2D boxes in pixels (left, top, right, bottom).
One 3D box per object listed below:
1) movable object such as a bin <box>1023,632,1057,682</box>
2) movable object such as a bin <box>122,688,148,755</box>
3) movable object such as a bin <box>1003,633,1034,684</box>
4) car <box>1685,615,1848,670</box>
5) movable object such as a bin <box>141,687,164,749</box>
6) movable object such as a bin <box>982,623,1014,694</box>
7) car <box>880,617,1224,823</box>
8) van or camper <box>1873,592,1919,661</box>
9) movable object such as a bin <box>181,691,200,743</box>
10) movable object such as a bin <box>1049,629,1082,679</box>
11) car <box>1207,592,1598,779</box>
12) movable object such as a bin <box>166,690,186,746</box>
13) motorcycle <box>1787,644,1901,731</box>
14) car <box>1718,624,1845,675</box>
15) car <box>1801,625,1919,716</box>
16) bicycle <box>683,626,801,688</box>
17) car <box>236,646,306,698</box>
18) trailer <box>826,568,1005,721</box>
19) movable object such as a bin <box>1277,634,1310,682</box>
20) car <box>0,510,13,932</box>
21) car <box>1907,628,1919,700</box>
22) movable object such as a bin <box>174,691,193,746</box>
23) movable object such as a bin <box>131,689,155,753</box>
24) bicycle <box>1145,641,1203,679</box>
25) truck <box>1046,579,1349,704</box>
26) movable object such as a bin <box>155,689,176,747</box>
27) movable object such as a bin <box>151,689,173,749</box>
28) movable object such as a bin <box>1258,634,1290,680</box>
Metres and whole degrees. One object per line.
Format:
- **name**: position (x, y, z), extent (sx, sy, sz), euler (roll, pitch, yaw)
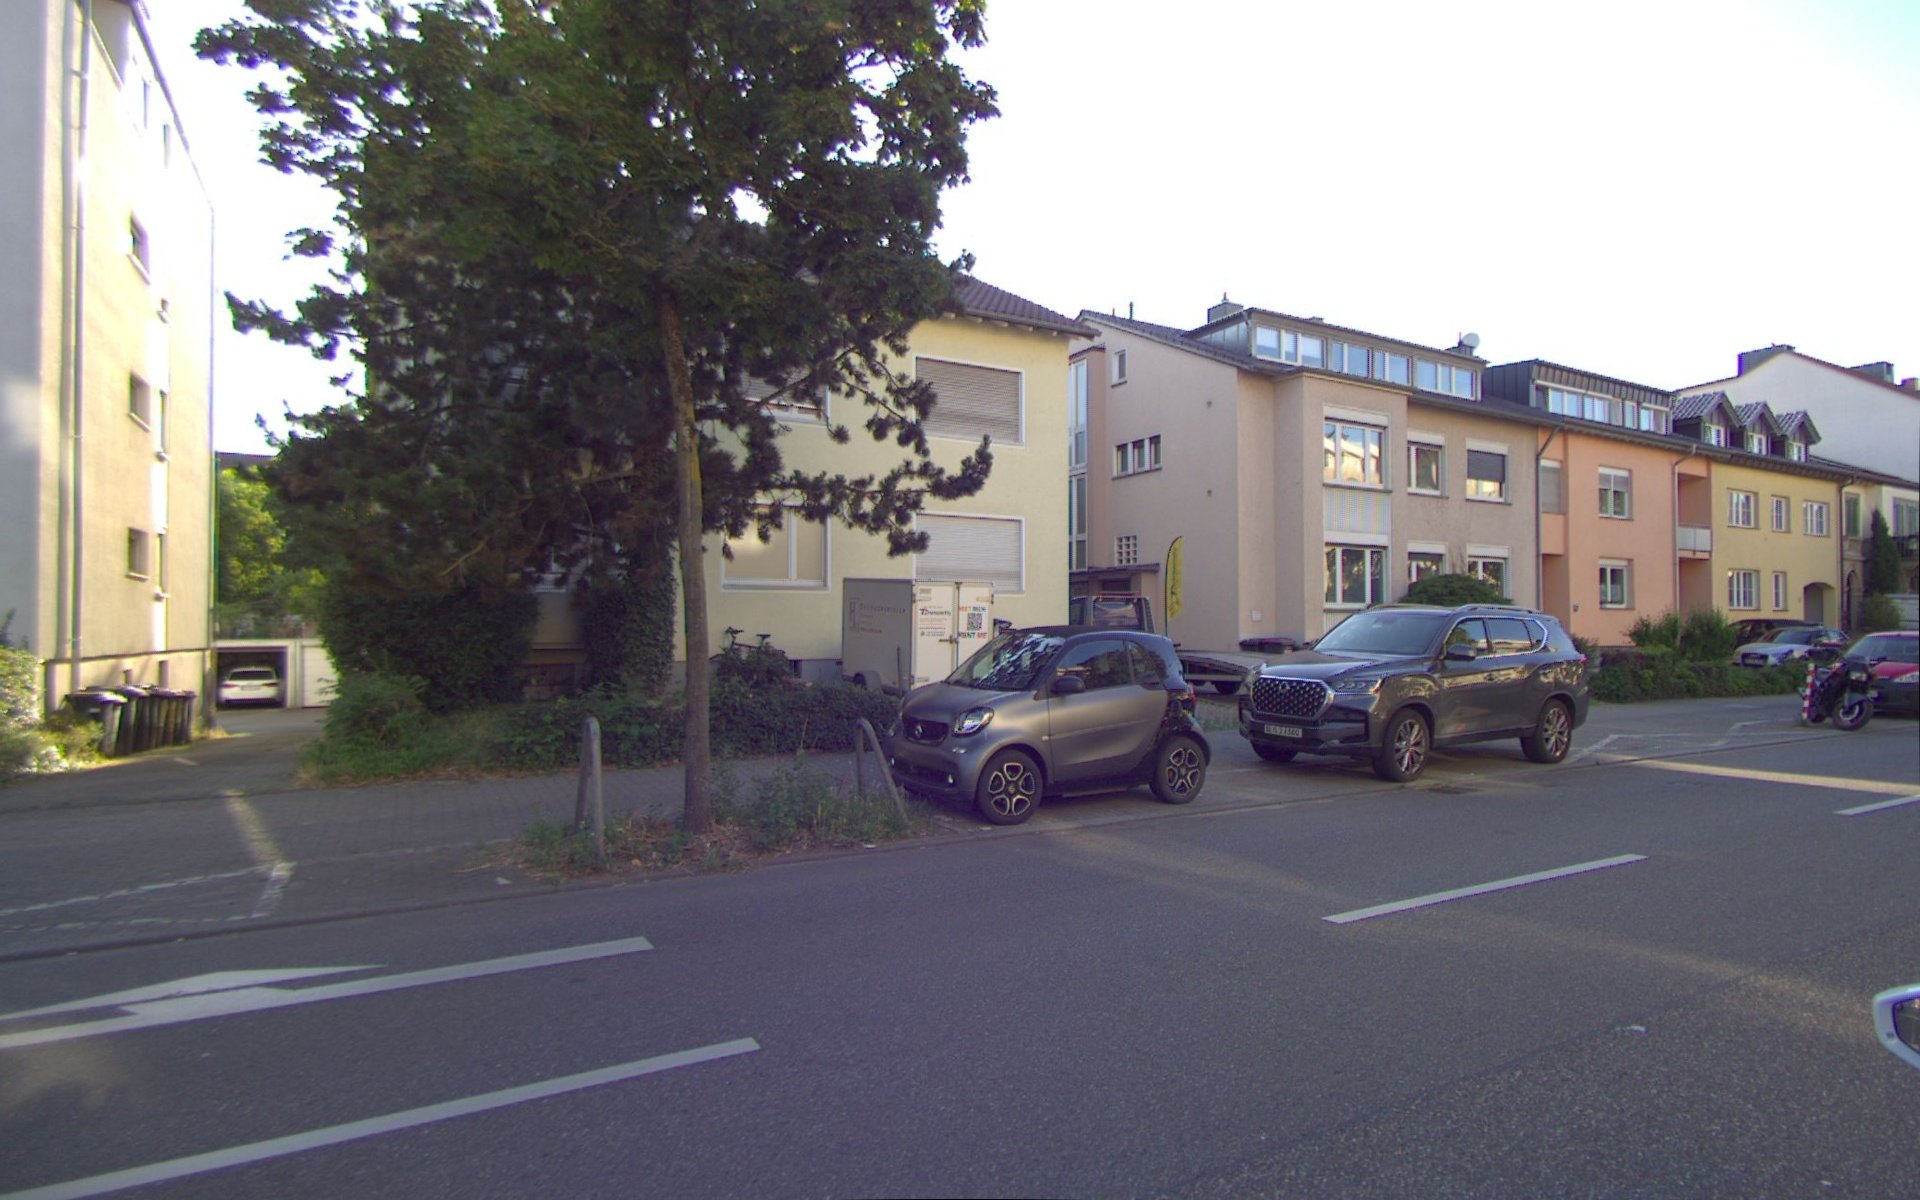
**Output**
- **movable object such as a bin**: position (1.682, 1.195, 21.192), extent (0.531, 1.044, 0.478), euler (1, -1, -29)
- **movable object such as a bin**: position (-12.926, 1.895, 15.750), extent (0.205, 1.015, 0.522), euler (1, -2, -29)
- **movable object such as a bin**: position (1.219, 1.203, 20.915), extent (0.480, 1.044, 0.478), euler (1, -1, -29)
- **car**: position (27.679, 1.400, 34.609), extent (1.843, 1.658, 3.970), euler (1, 1, -28)
- **movable object such as a bin**: position (-13.844, 2.018, 17.234), extent (0.205, 1.015, 0.522), euler (1, -2, -29)
- **movable object such as a bin**: position (0.781, 1.192, 20.642), extent (0.480, 1.420, 0.478), euler (1, -1, -29)
- **car**: position (0.844, 0.955, 9.072), extent (2.719, 1.576, 1.565), euler (1, -1, -32)
- **van or camper**: position (41.625, 1.159, 40.474), extent (2.325, 2.810, 6.764), euler (1, 1, -30)
- **movable object such as a bin**: position (-15.532, 2.357, 20.270), extent (0.205, 1.015, 0.522), euler (1, -2, -29)
- **movable object such as a bin**: position (2.259, 1.154, 21.525), extent (0.543, 1.044, 0.478), euler (1, -1, -29)
- **car**: position (5.246, 0.880, 11.722), extent (4.673, 1.803, 1.877), euler (1, -1, -32)
- **movable object such as a bin**: position (-14.837, 2.225, 19.004), extent (0.205, 1.015, 0.522), euler (1, -2, -29)
- **motorcycle**: position (14.421, 1.378, 16.478), extent (1.164, 1.283, 2.362), euler (-1, -2, 36)
- **car**: position (24.455, 1.448, 29.883), extent (3.706, 1.427, 1.658), euler (1, -2, -29)
- **car**: position (17.479, 1.255, 18.731), extent (3.392, 1.543, 1.587), euler (1, -1, -28)
- **bicycle**: position (-3.933, 1.010, 18.203), extent (2.022, 1.078, 0.516), euler (1, -1, -31)
- **car**: position (-27.264, 2.799, 39.871), extent (1.824, 1.894, 3.972), euler (1, -2, -28)
- **trailer**: position (-0.736, 0.641, 15.023), extent (1.535, 2.040, 2.758), euler (1, -2, -32)
- **movable object such as a bin**: position (7.929, 1.373, 23.853), extent (0.579, 1.105, 0.486), euler (1, -1, -30)
- **car**: position (-4.374, 0.555, 1.185), extent (4.382, 1.827, 1.878), euler (1, -3, -32)
- **car**: position (22.573, 1.404, 22.096), extent (3.847, 1.543, 1.585), euler (1, -1, -32)
- **movable object such as a bin**: position (-15.163, 2.306, 19.622), extent (0.205, 1.015, 0.522), euler (1, -2, -29)
- **movable object such as a bin**: position (-13.408, 1.976, 16.484), extent (0.205, 1.015, 0.522), euler (1, -2, -29)
- **bicycle**: position (5.612, 1.587, 26.416), extent (0.582, 0.942, 1.589), euler (1, -4, -27)
- **truck**: position (4.691, 0.827, 21.378), extent (2.249, 2.214, 6.864), euler (1, -2, -29)
- **movable object such as a bin**: position (-14.519, 2.144, 18.362), extent (0.205, 1.015, 0.522), euler (1, -2, -29)
- **movable object such as a bin**: position (-14.177, 2.109, 17.851), extent (0.205, 1.015, 0.522), euler (1, -2, -29)
- **movable object such as a bin**: position (7.626, 1.369, 24.420), extent (0.579, 1.105, 0.486), euler (1, -1, -30)
